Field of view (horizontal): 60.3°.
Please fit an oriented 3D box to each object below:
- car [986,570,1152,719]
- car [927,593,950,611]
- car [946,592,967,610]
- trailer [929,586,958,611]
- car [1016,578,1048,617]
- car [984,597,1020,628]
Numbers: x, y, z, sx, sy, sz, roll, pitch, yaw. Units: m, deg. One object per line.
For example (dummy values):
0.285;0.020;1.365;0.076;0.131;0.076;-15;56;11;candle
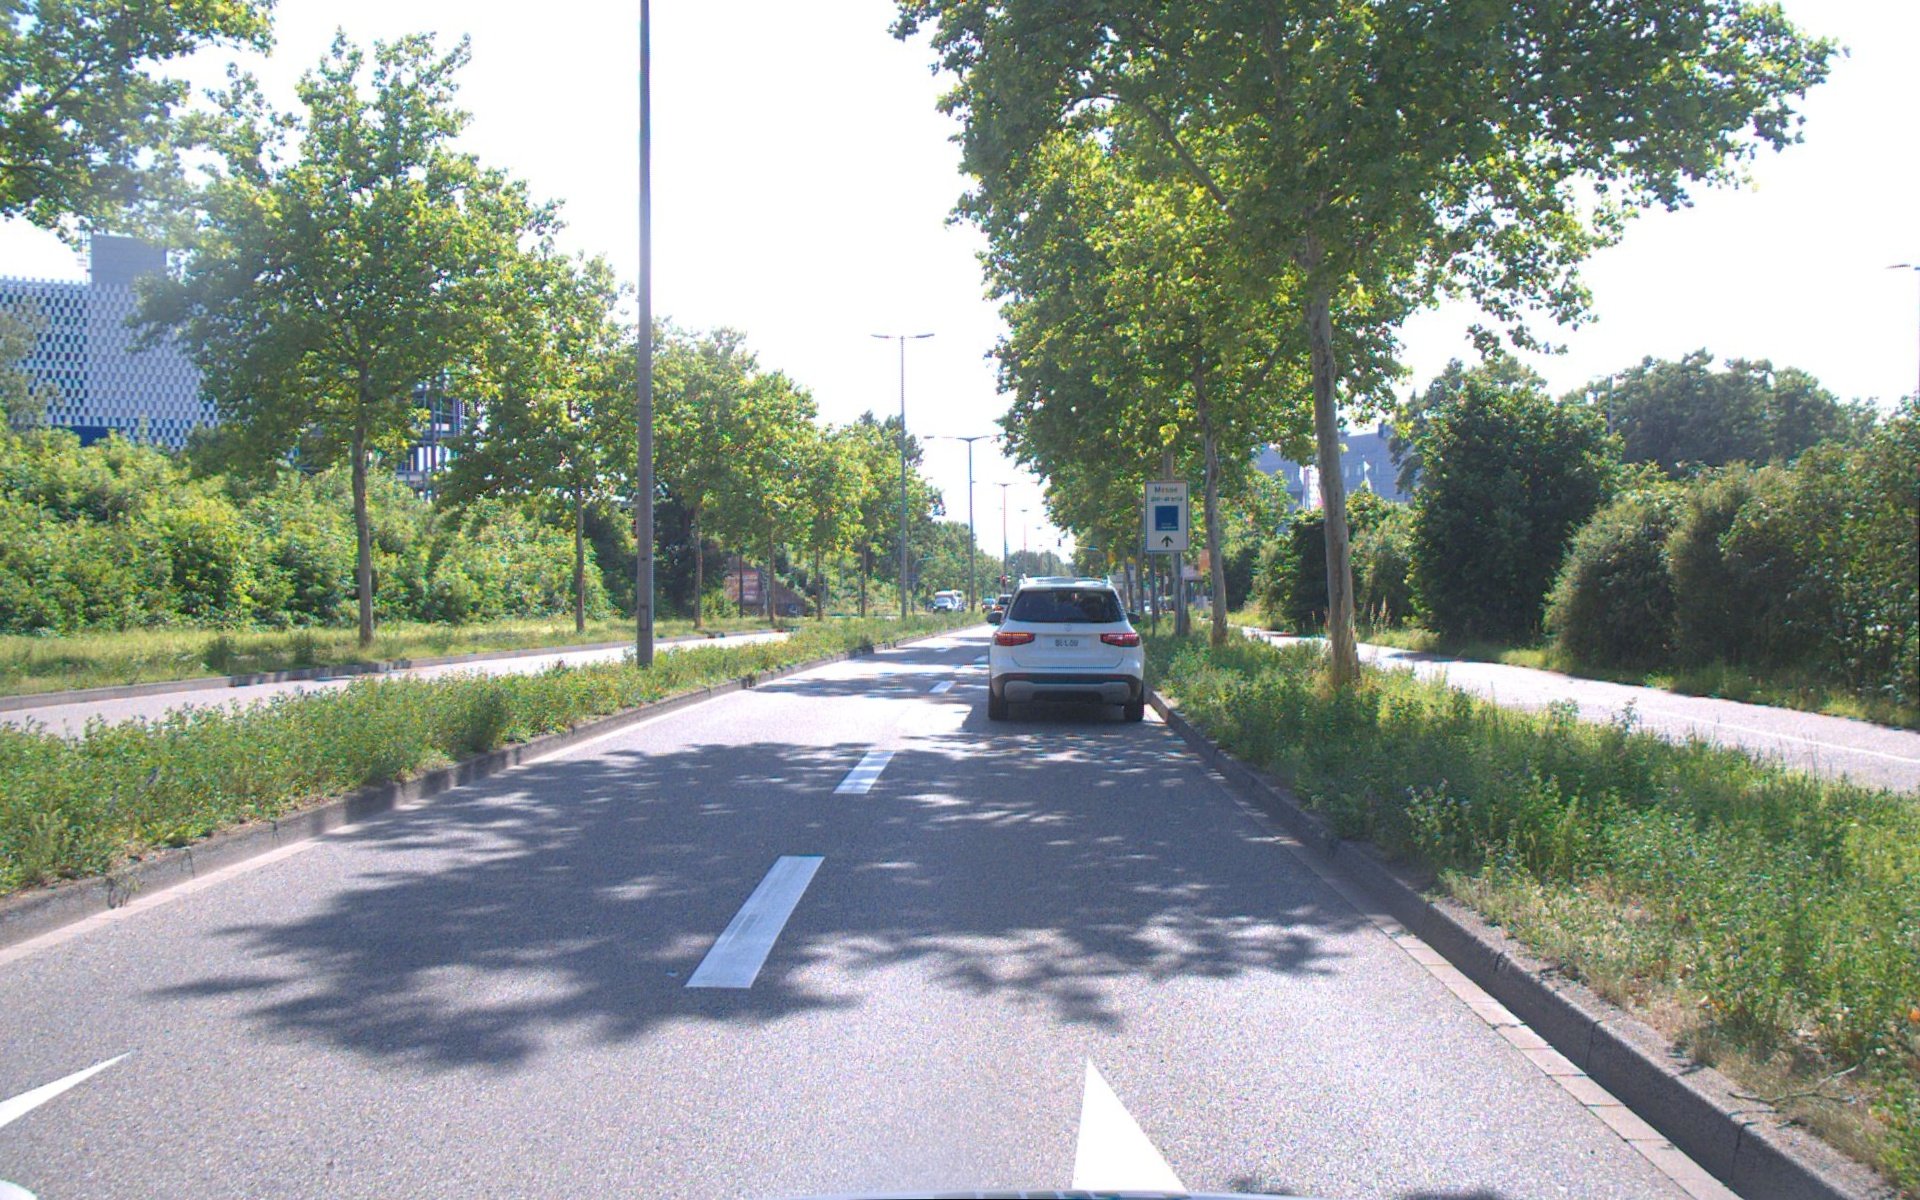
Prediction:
1.231;0.497;20.243;1.815;1.635;4.000;0;0;1;car
-1.943;0.193;152.061;1.679;1.650;4.363;0;0;5;car
-0.350;0.116;181.154;1.727;1.821;5.379;1;0;5;car
-1.525;-0.083;157.017;2.260;2.305;5.541;0;0;5;trailer
5.198;-0.145;119.241;2.037;2.703;4.877;1;0;5;car
2.316;0.693;90.578;1.734;1.676;4.354;0;0;5;car
